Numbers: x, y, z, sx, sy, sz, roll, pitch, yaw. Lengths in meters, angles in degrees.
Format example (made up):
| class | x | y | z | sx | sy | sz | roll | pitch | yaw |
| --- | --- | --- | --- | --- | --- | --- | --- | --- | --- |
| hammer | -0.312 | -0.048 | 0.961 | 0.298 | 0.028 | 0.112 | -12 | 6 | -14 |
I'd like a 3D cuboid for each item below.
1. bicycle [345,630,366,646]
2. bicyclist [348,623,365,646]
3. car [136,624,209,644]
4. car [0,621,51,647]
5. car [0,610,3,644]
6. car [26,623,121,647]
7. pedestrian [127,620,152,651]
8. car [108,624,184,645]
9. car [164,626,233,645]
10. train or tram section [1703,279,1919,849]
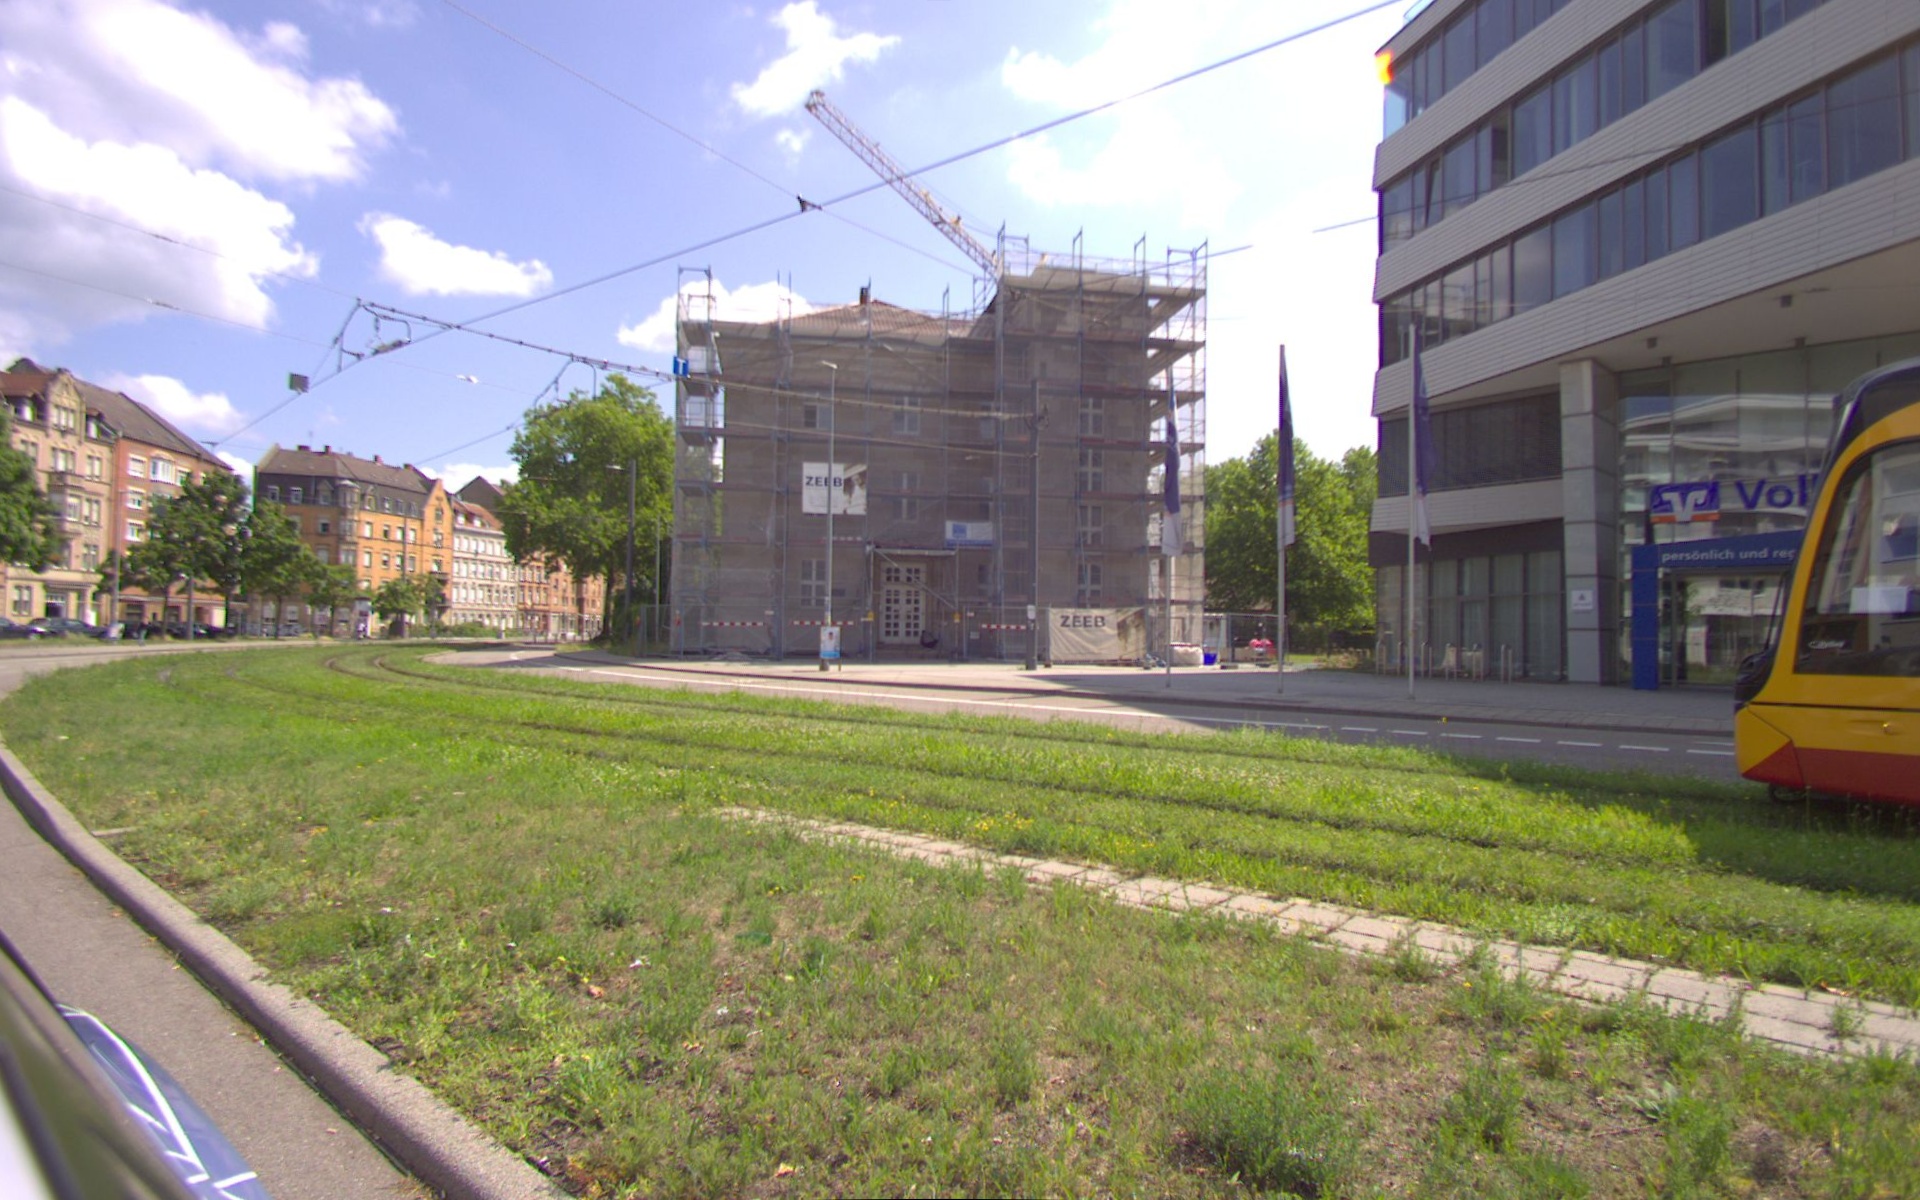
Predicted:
| class | x | y | z | sx | sy | sz | roll | pitch | yaw |
| --- | --- | --- | --- | --- | --- | --- | --- | --- | --- |
| bicycle | -49.969 | 3.157 | 83.712 | 0.685 | 1.251 | 1.842 | 6 | -4 | -7 |
| bicyclist | -49.961 | 2.863 | 83.823 | 0.686 | 1.838 | 0.958 | 6 | -4 | -7 |
| car | -55.880 | 2.398 | 71.821 | 3.939 | 1.391 | 1.963 | 1 | -2 | -43 |
| car | -52.721 | 1.855 | 55.431 | 1.853 | 1.391 | 4.208 | -2 | -2 | 43 |
| car | -51.854 | 1.391 | 51.640 | 1.853 | 1.754 | 4.303 | -2 | -2 | 43 |
| car | -54.011 | 2.135 | 61.723 | 1.853 | 1.391 | 4.208 | -2 | -2 | 43 |
| pedestrian | -46.712 | 2.005 | 57.592 | 0.691 | 1.717 | 1.047 | 1 | 1 | -12 |
| car | -55.394 | 2.332 | 68.962 | 3.935 | 1.391 | 1.965 | 1 | -2 | -38 |
| car | -56.494 | 2.647 | 75.208 | 3.932 | 1.364 | 1.967 | 1 | -2 | -33 |
| train or tram section | 11.101 | -0.292 | 3.387 | 3.178 | 3.627 | 13.513 | 4 | -4 | -43 |
